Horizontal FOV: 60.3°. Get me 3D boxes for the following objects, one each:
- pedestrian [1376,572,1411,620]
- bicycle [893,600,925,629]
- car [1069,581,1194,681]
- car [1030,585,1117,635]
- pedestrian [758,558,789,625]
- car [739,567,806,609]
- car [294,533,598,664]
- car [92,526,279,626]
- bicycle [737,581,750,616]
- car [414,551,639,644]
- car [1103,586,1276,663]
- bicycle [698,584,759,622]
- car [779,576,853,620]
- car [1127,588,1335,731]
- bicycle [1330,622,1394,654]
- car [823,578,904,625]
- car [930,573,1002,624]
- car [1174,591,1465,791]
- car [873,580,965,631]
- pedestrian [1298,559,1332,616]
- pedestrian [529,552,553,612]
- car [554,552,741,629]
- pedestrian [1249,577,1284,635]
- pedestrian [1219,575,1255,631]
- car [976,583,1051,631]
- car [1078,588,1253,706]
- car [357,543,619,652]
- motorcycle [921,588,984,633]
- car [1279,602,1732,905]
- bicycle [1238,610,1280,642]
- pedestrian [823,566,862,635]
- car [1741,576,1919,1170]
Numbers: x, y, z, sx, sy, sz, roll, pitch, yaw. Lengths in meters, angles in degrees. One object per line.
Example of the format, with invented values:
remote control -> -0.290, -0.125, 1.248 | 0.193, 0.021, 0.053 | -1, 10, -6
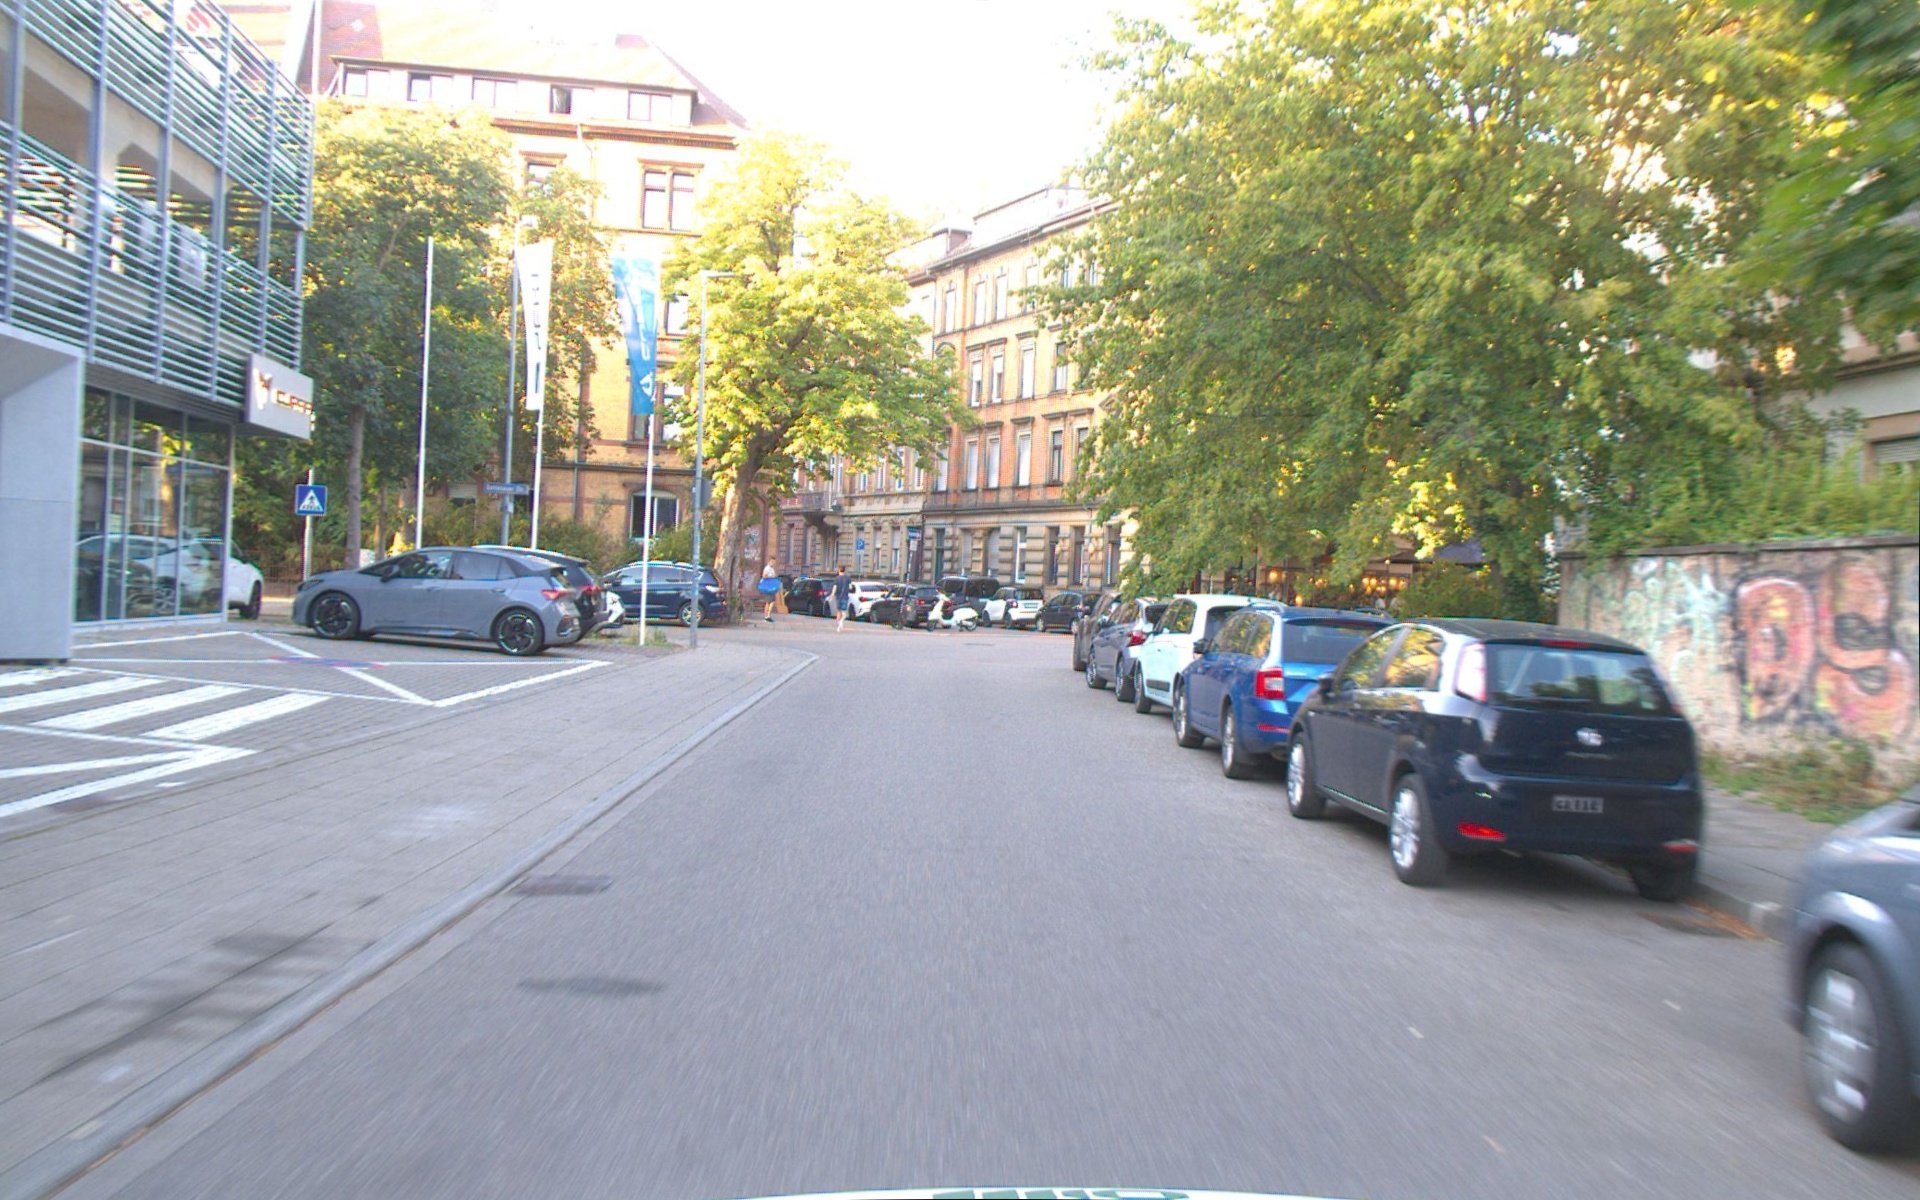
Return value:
pedestrian -> 13.950, -0.127, 53.246 | 0.759, 1.507, 0.759 | 2, 1, -12
bicycle -> -1.546, 0.428, 50.668 | 0.416, 0.836, 1.462 | 3, 1, 21
car -> 2.993, 0.497, 29.599 | 1.661, 1.598, 3.970 | 2, 0, -2
car -> 3.937, 0.340, 57.728 | 1.653, 1.552, 3.219 | 2, 2, -25
pedestrian -> -5.441, -0.259, 48.275 | 0.799, 1.884, 0.802 | 2, 1, -5
car -> -7.993, -0.538, 70.140 | 1.633, 1.551, 3.866 | 3, 2, -25
car -> -7.883, -0.050, 25.669 | 4.048, 1.645, 1.912 | 4, 1, -3
car -> -13.806, -0.425, 29.748 | 1.669, 1.577, 4.218 | 3, 0, -6
bicycle -> -6.760, -0.063, 51.723 | 0.312, 1.046, 1.676 | 2, 1, -5
car -> -8.599, -0.068, 33.092 | 3.967, 1.500, 1.919 | 4, 1, -5
car -> 5.101, 0.552, 36.453 | 1.849, 1.492, 3.947 | 4, 2, 42
bicycle -> -6.611, 0.088, 47.245 | 1.650, 1.046, 0.442 | 2, 1, -25
car -> -5.692, -0.103, 64.872 | 1.633, 1.455, 3.866 | 3, 2, -25
car -> 3.196, 0.651, 20.161 | 1.662, 1.502, 3.557 | 2, 0, -4
bicycle -> 12.392, 1.177, 50.997 | 1.935, 0.900, 0.399 | 2, 1, -15
car -> -3.556, 0.032, 60.413 | 1.632, 1.455, 4.139 | 3, 2, -23
car -> 0.204, -0.076, 64.644 | 1.653, 1.813, 2.992 | 3, 1, -25
car -> 3.130, 0.715, 15.208 | 1.661, 1.502, 4.116 | 2, 0, -1
car -> -1.430, 0.156, 55.970 | 1.633, 1.455, 3.960 | 3, 2, -24
pedestrian -> 11.763, -0.423, 54.831 | 0.760, 1.835, 0.840 | 1, 2, -16
pedestrian -> -11.917, -0.515, 47.015 | 0.532, 1.663, 0.447 | 2, 1, -6
car -> -8.350, -0.268, 44.530 | 4.738, 1.762, 1.918 | 3, 1, -7
pedestrian -> 9.977, 0.183, 53.831 | 0.760, 1.835, 0.840 | 2, 1, -16
pedestrian -> 9.292, 0.107, 55.530 | 0.828, 1.835, 0.771 | 2, 1, -21
car -> 1.965, 0.250, 61.223 | 1.653, 1.552, 2.746 | 3, 1, -25
car -> 2.946, 0.627, 24.565 | 1.662, 1.502, 4.208 | 2, 0, -6
car -> -8.071, -0.060, 28.552 | 3.986, 1.646, 1.764 | 2, 1, -3
motorcycle -> -0.235, 0.330, 52.735 | 1.897, 1.364, 0.576 | 2, 1, -12
car -> 3.259, 0.819, 10.661 | 1.564, 1.502, 3.773 | 2, 0, -1
bicycle -> 9.413, 0.824, 52.136 | 0.317, 0.930, 1.344 | 1, 2, -42
pedestrian -> -3.251, 0.014, 45.841 | 0.725, 1.835, 1.115 | 2, 1, -21
car -> 3.544, 0.795, 3.628 | 1.724, 1.632, 3.873 | 2, 0, -1
